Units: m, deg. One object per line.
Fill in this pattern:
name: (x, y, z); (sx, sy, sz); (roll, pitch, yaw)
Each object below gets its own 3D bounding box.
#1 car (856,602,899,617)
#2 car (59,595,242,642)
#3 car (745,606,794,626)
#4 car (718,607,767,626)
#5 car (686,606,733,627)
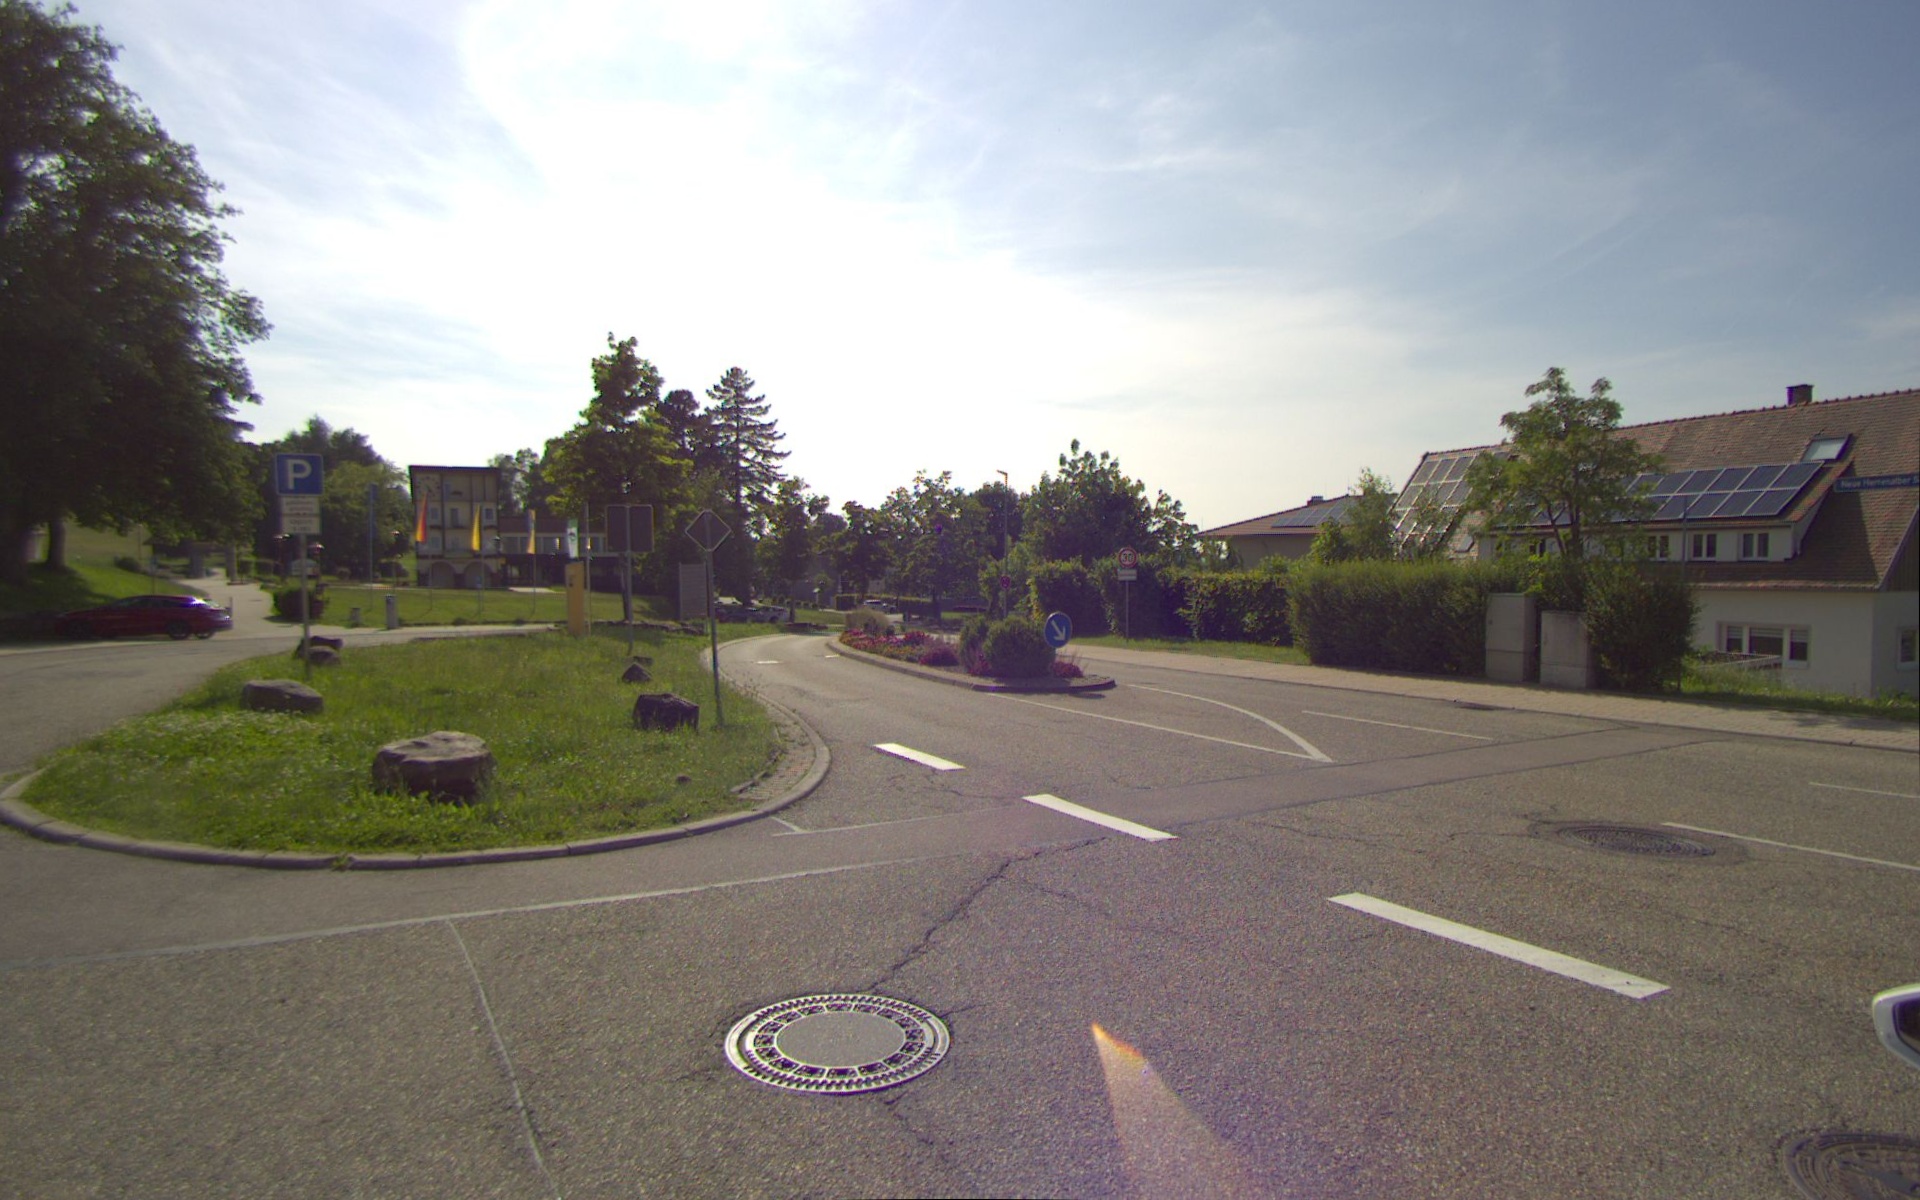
car: (-9.846, 1.160, 119.851); (4.679, 1.555, 1.982); (-1, 5, -33)
car: (-26.044, 0.589, 32.477); (4.166, 1.417, 1.819); (1, 0, -14)
car: (-16.647, 1.402, 87.697); (3.866, 1.630, 1.775); (2, -1, 24)
car: (-18.157, 1.396, 83.917); (3.643, 1.452, 1.775); (2, -1, 25)
car: (-20.216, 1.346, 81.060); (3.146, 1.490, 1.775); (2, -1, 23)
